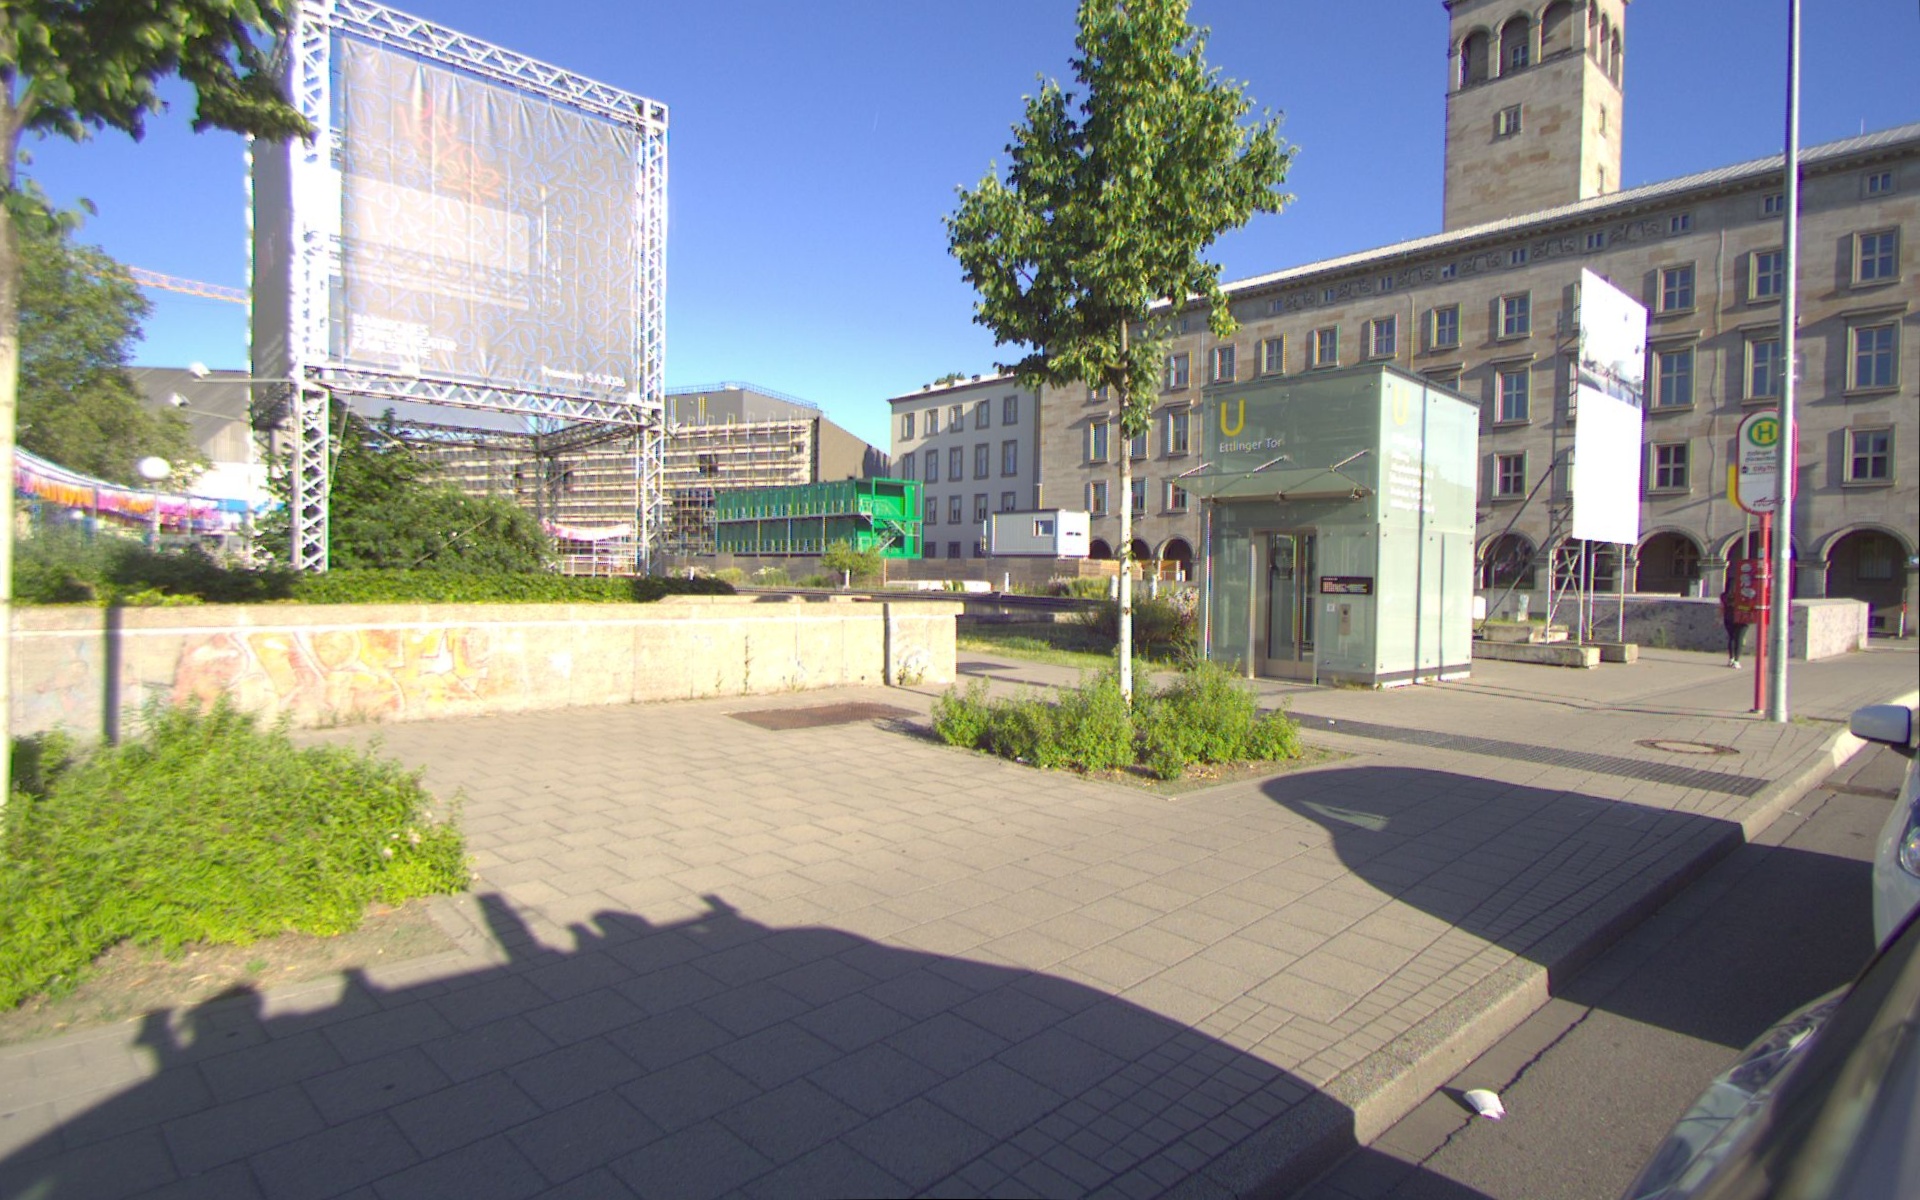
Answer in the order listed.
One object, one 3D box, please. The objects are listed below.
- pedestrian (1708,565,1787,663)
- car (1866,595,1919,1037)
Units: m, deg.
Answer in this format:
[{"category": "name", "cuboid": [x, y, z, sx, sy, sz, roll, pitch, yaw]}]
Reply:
[{"category": "pedestrian", "cuboid": [15.351, 0.252, 19.734, 1.053, 1.808, 0.942, 0, 3, -41]}, {"category": "car", "cuboid": [5.080, 0.715, 4.090, 3.821, 1.467, 1.677, 0, 0, -41]}]
